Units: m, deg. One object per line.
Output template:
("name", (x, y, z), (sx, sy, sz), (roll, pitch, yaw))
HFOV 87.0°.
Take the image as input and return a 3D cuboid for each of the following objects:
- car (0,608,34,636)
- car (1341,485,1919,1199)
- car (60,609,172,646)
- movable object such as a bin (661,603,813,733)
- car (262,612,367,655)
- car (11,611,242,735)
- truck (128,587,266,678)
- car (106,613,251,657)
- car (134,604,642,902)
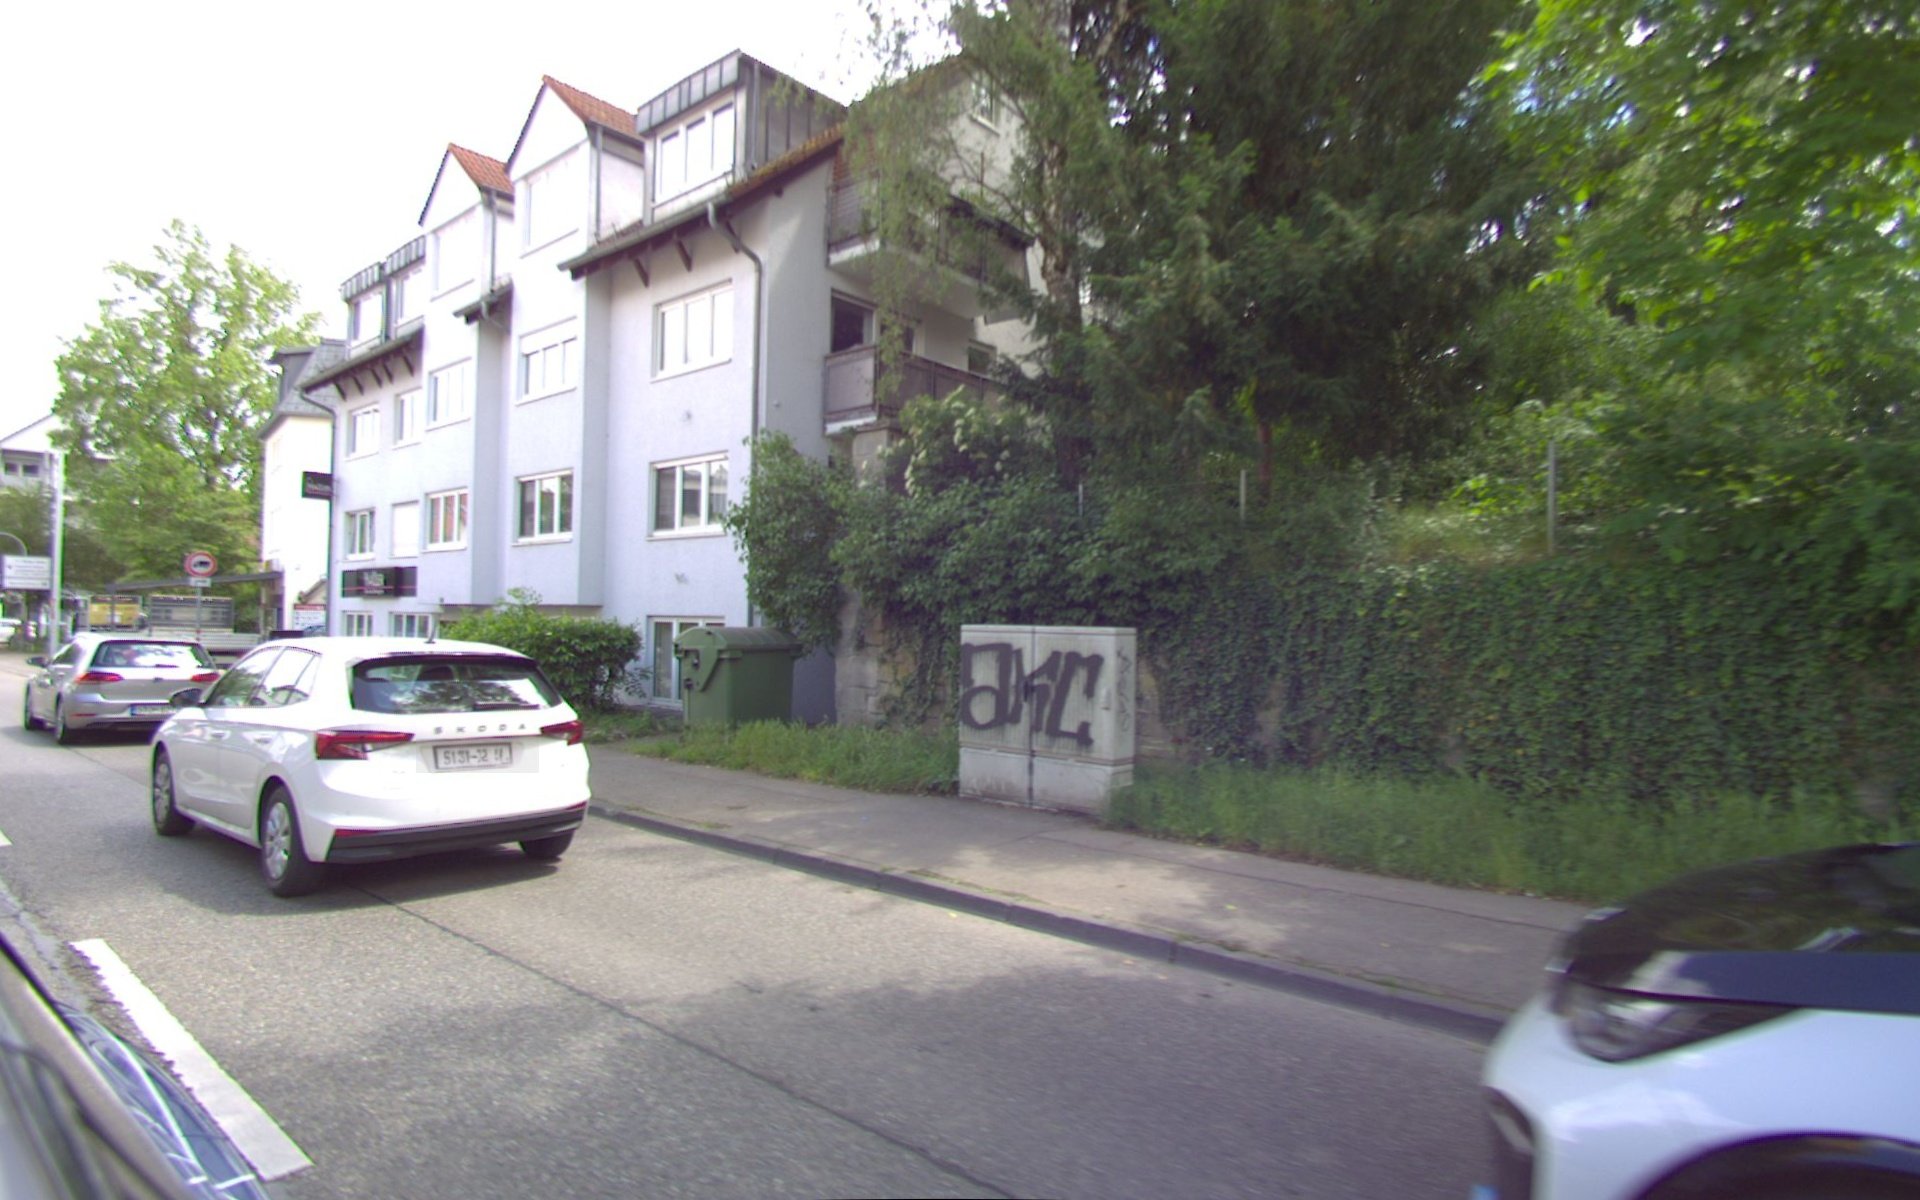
("car", (-54.077, 1.234, 55.876), (1.821, 1.525, 4.169), (-2, -2, 40))
("car", (2.875, 0.664, 1.291), (4.084, 1.558, 1.908), (-1, -5, 41))
("car", (-48.137, 1.505, 57.794), (2.092, 2.024, 4.577), (-1, -1, 37))
("movable object such as a bin", (-2.678, 0.766, 12.208), (1.211, 1.438, 1.319), (0, 0, 34))
("car", (-23.330, 1.205, 36.637), (2.801, 1.481, 1.570), (1, -1, -11))
("car", (-11.790, 0.948, 14.214), (4.284, 1.467, 1.692), (0, -4, 40))
("truck", (-22.418, 0.864, 29.613), (6.327, 2.398, 2.200), (0, 0, 44))
("car", (-27.210, 1.180, 35.316), (1.802, 1.436, 3.659), (-1, -1, 37))
("car", (-4.061, 0.816, 6.917), (3.968, 1.450, 1.741), (-1, -3, 41))
